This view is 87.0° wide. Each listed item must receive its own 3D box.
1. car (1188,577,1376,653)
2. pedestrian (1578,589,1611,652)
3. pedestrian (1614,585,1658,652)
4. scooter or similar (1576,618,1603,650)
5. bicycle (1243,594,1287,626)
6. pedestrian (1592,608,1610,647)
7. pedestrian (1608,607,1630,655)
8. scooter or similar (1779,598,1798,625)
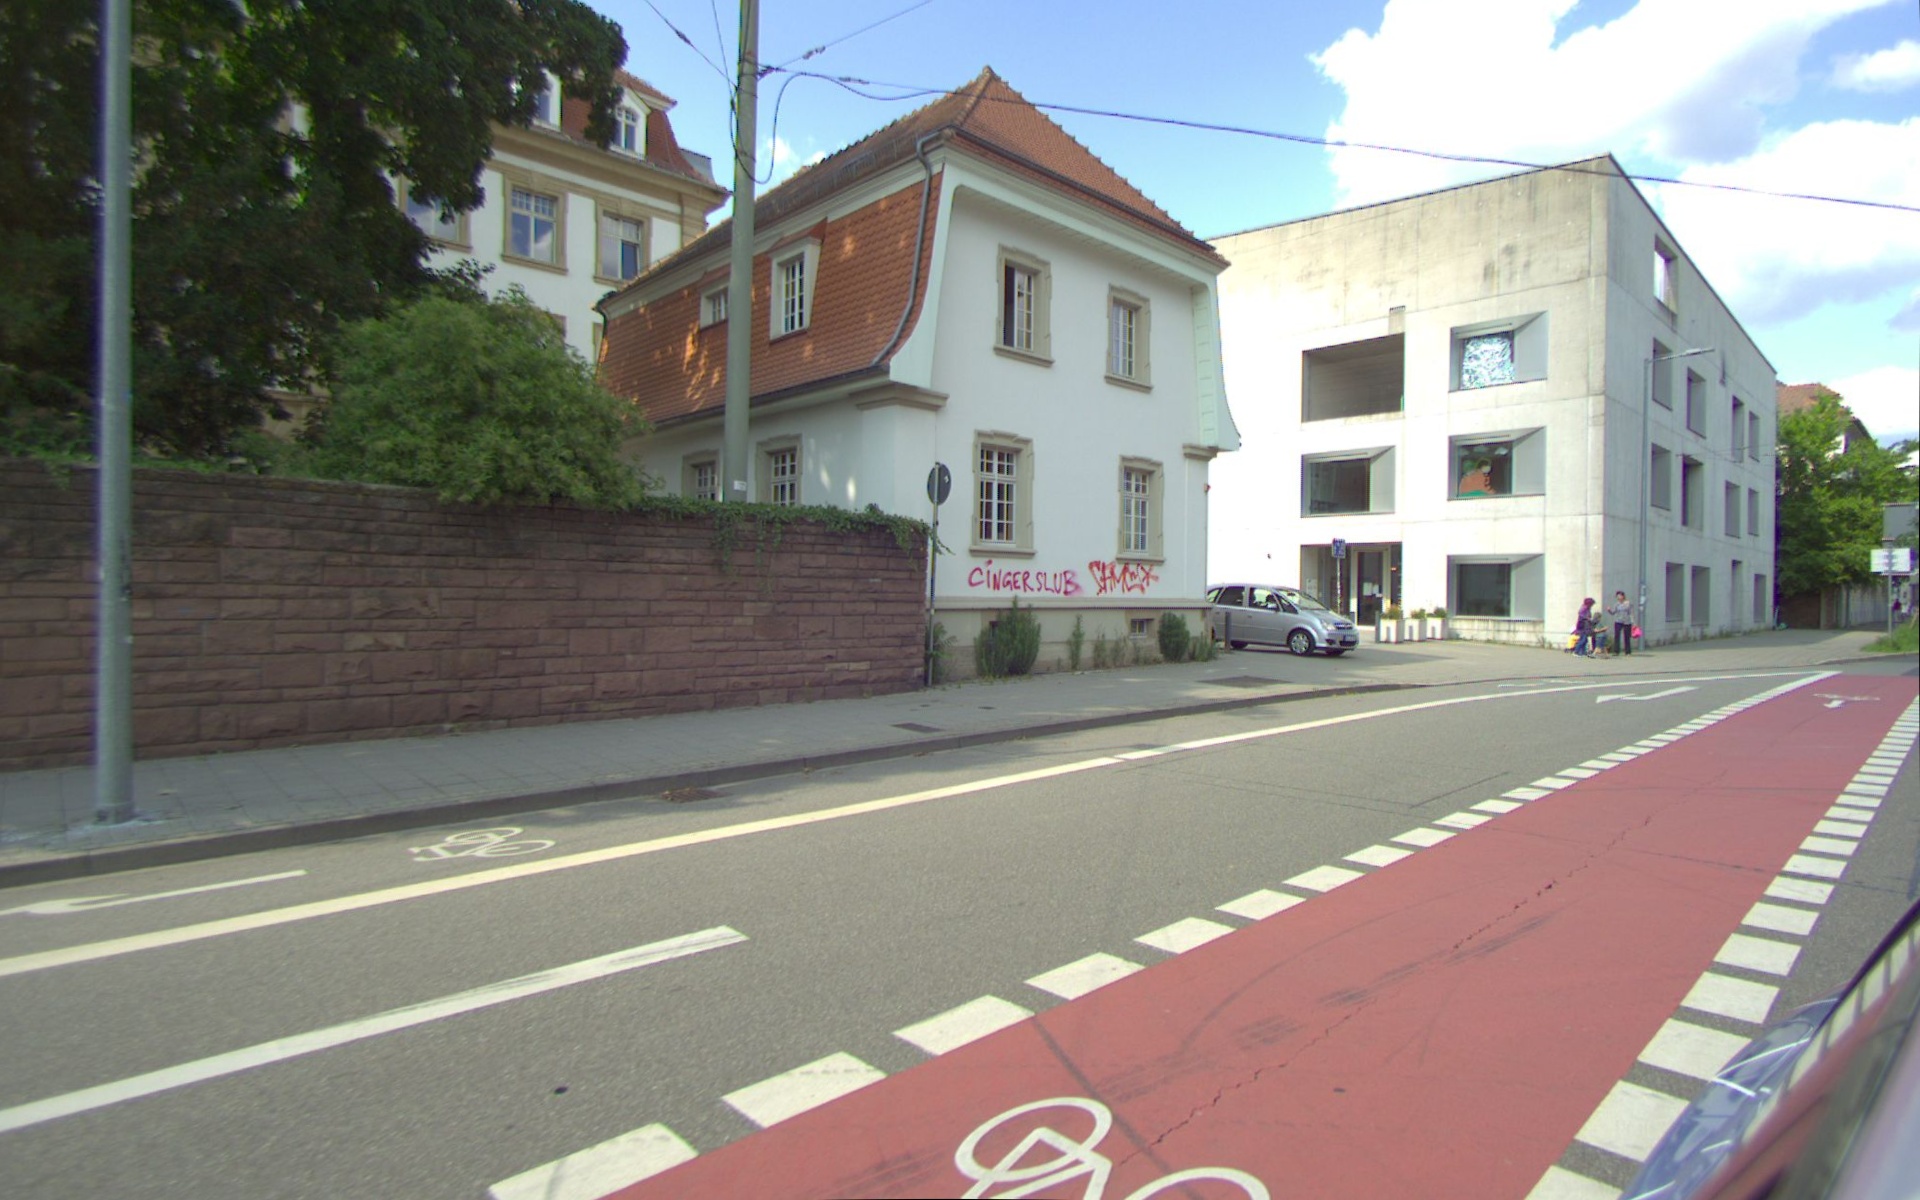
[{"bbox_3d":[7.435,0.303,23.616,1.635,1.625,3.887,2,0,-41],"label":"car"},{"bbox_3d":[16.537,0.541,26.378,0.539,1.600,0.520,2,0,-41],"label":"pedestrian"},{"bbox_3d":[18.186,0.488,27.238,0.732,1.746,0.687,2,0,-33],"label":"pedestrian"},{"bbox_3d":[17.051,0.909,27.415,0.544,0.810,0.265,4,1,24],"label":"scooter or similar"},{"bbox_3d":[10.225,0.322,33.927,0.698,1.030,1.791,2,1,42],"label":"bicycle"},{"bbox_3d":[17.020,0.733,26.883,0.342,1.023,0.391,3,0,37],"label":"pedestrian"},{"bbox_3d":[16.910,0.790,25.965,0.420,1.216,0.400,3,0,37],"label":"pedestrian"},{"bbox_3d":[38.403,0.528,46.928,1.125,1.196,0.324,0,0,-31],"label":"scooter or similar"}]
